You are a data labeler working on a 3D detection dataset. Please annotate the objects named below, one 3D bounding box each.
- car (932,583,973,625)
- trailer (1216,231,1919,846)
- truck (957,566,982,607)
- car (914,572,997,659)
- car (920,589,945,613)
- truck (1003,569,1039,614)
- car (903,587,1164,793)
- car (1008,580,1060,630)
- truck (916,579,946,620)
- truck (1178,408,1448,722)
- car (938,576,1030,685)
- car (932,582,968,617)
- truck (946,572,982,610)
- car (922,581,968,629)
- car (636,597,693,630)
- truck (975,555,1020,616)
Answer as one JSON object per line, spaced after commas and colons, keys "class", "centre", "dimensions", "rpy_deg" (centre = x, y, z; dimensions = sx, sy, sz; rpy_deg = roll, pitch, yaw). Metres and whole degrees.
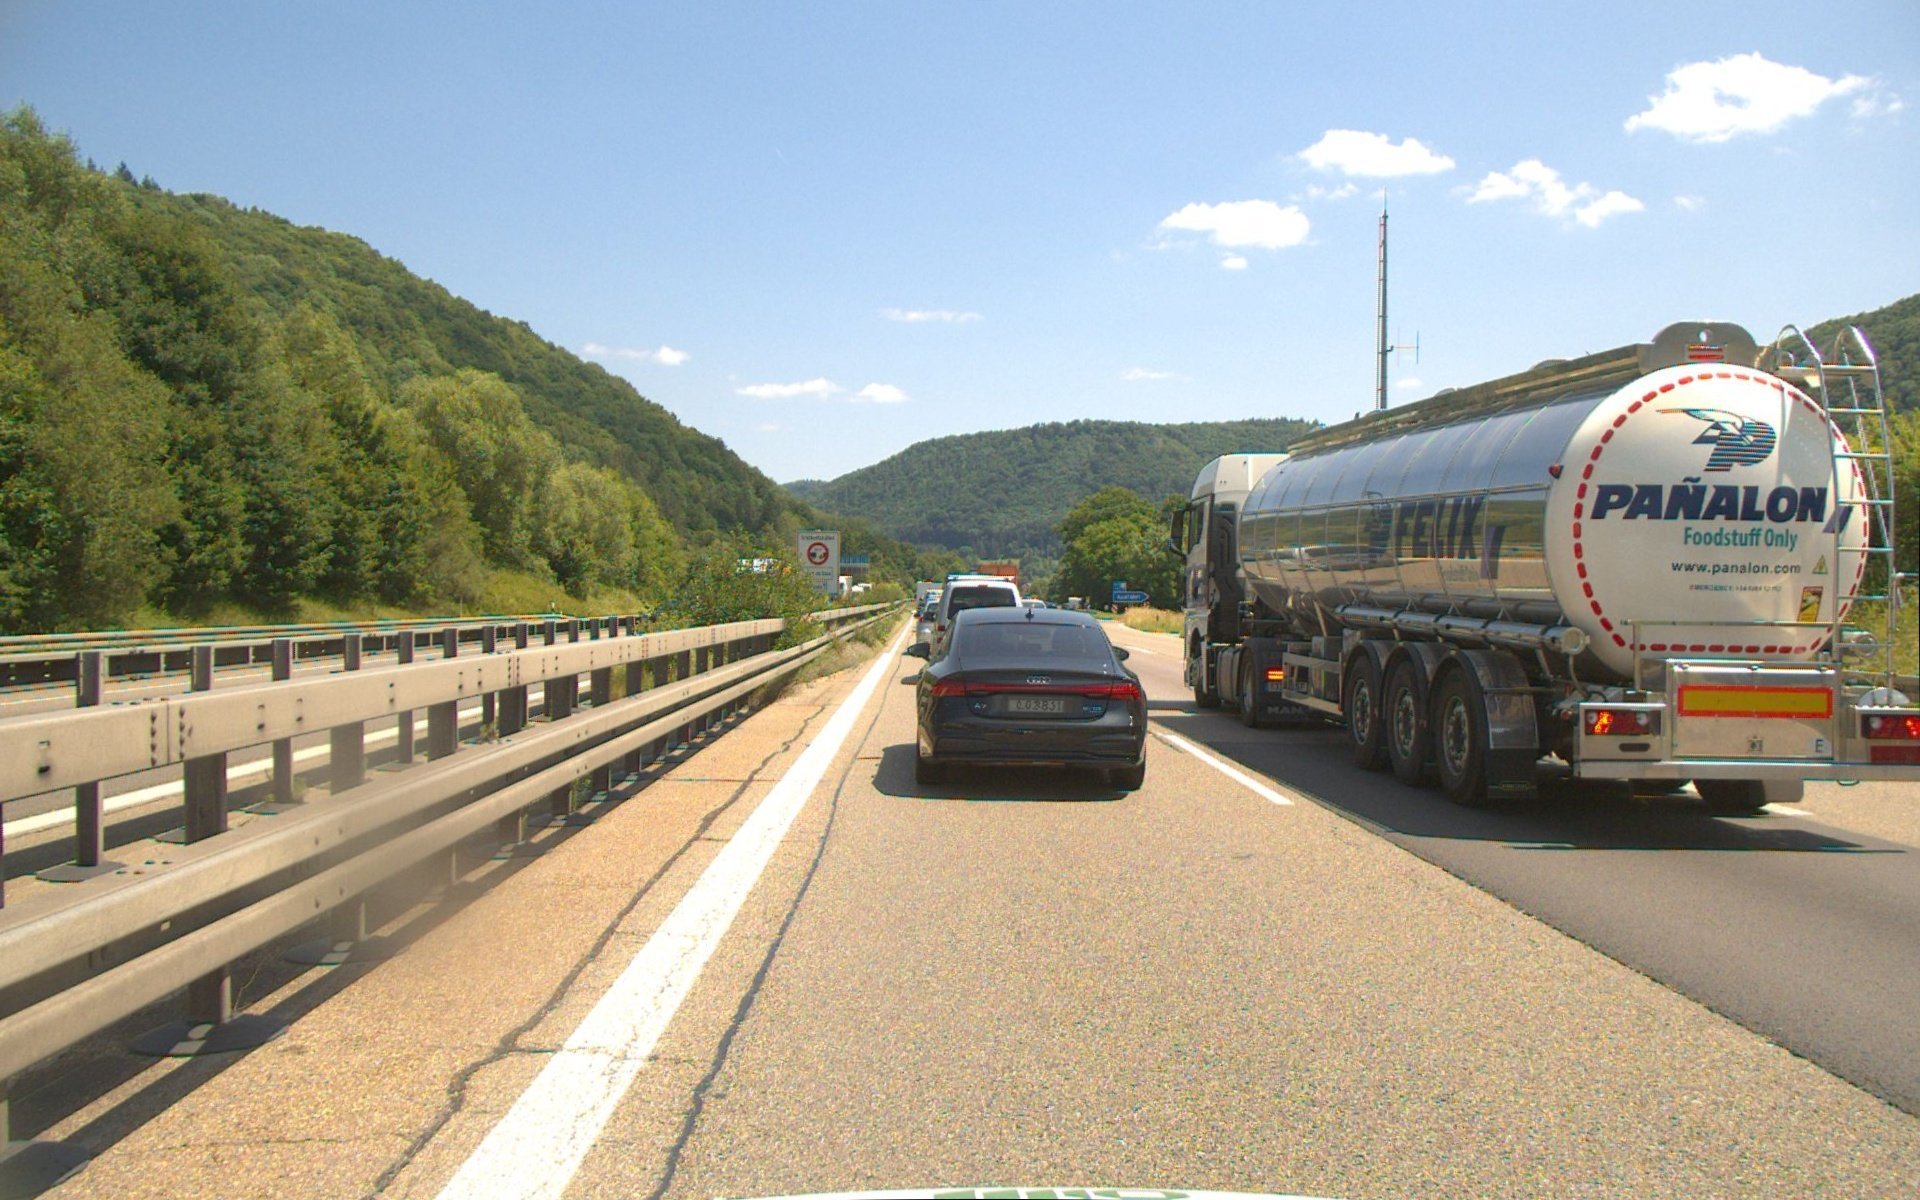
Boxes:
{"class": "car", "centre": [-0.406, 0.188, 82.370], "dimensions": [1.953, 2.049, 3.999], "rpy_deg": [0, 0, -2]}
{"class": "trailer", "centre": [4.867, -0.391, 16.263], "dimensions": [2.487, 3.801, 11.887], "rpy_deg": [1, 0, -2]}
{"class": "truck", "centre": [0.843, -1.196, 150.833], "dimensions": [1.953, 3.507, 11.809], "rpy_deg": [1, 0, -1]}
{"class": "car", "centre": [-0.144, 0.358, 41.405], "dimensions": [1.953, 2.049, 3.999], "rpy_deg": [1, 0, -1]}
{"class": "car", "centre": [-1.942, 0.075, 115.876], "dimensions": [1.677, 1.647, 4.000], "rpy_deg": [0, 0, 0]}
{"class": "truck", "centre": [5.746, -0.813, 157.378], "dimensions": [2.760, 4.073, 14.954], "rpy_deg": [1, 0, 0]}
{"class": "car", "centre": [0.479, 0.666, 14.305], "dimensions": [1.813, 1.514, 4.080], "rpy_deg": [1, 0, -4]}
{"class": "car", "centre": [3.125, 0.202, 70.126], "dimensions": [1.953, 2.049, 3.999], "rpy_deg": [0, 0, -1]}
{"class": "truck", "centre": [-2.583, -0.071, 148.042], "dimensions": [2.575, 3.501, 11.419], "rpy_deg": [0, 0, -1]}
{"class": "truck", "centre": [4.684, -0.432, 22.955], "dimensions": [2.461, 3.824, 5.244], "rpy_deg": [1, 0, -2]}
{"class": "car", "centre": [0.381, 0.519, 30.484], "dimensions": [1.544, 1.865, 3.999], "rpy_deg": [1, 0, -1]}
{"class": "car", "centre": [-0.476, -0.035, 79.135], "dimensions": [1.677, 1.647, 4.000], "rpy_deg": [0, 0, 0]}
{"class": "truck", "centre": [0.589, -1.132, 208.261], "dimensions": [3.714, 4.491, 14.961], "rpy_deg": [0, 0, 3]}
{"class": "car", "centre": [-0.693, 0.221, 72.757], "dimensions": [1.953, 2.049, 3.999], "rpy_deg": [0, 0, -2]}
{"class": "car", "centre": [-13.635, 0.603, 76.497], "dimensions": [1.831, 1.445, 4.432], "rpy_deg": [-1, 0, -1]}
{"class": "truck", "centre": [2.616, -1.005, 119.961], "dimensions": [2.760, 4.073, 14.954], "rpy_deg": [1, 0, 0]}
